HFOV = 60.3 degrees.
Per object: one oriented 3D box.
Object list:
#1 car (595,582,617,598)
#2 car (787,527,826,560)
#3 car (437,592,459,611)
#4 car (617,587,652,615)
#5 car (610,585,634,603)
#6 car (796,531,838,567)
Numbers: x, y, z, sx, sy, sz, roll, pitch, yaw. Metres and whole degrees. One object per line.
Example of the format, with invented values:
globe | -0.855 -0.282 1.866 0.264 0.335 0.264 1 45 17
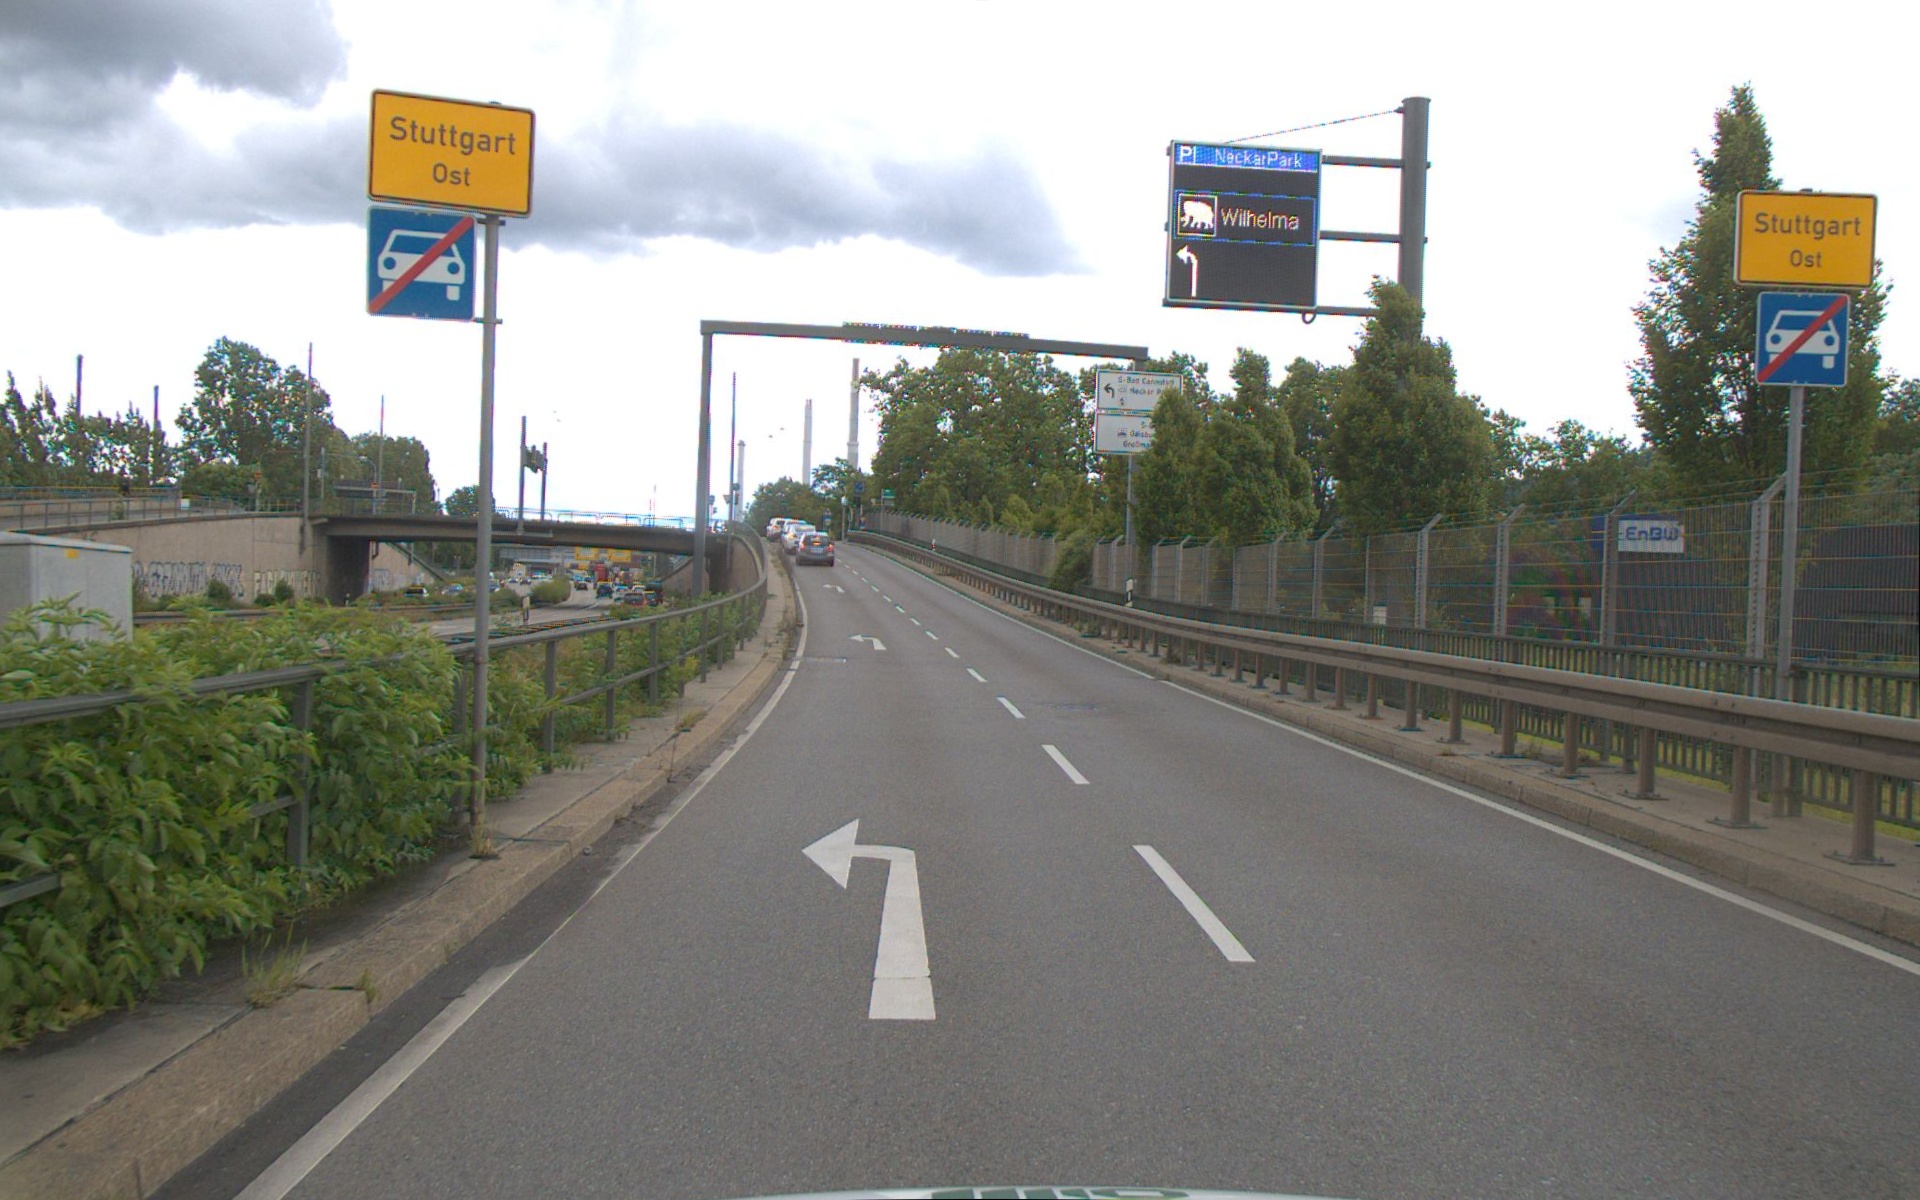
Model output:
car | -41.059 -1.167 191.802 1.955 1.713 3.996 2 1 -5
car | -8.586 -3.160 92.118 1.956 1.630 3.995 1 4 -8
car | -51.067 0.177 164.930 1.964 1.750 4.676 1 -1 -20
car | -19.460 0.058 98.743 1.958 1.444 3.990 2 1 -11
car | -34.870 -0.655 170.678 1.955 1.713 3.996 2 1 -5
car | -6.951 -2.477 80.852 1.714 1.608 4.084 3 0 -1
